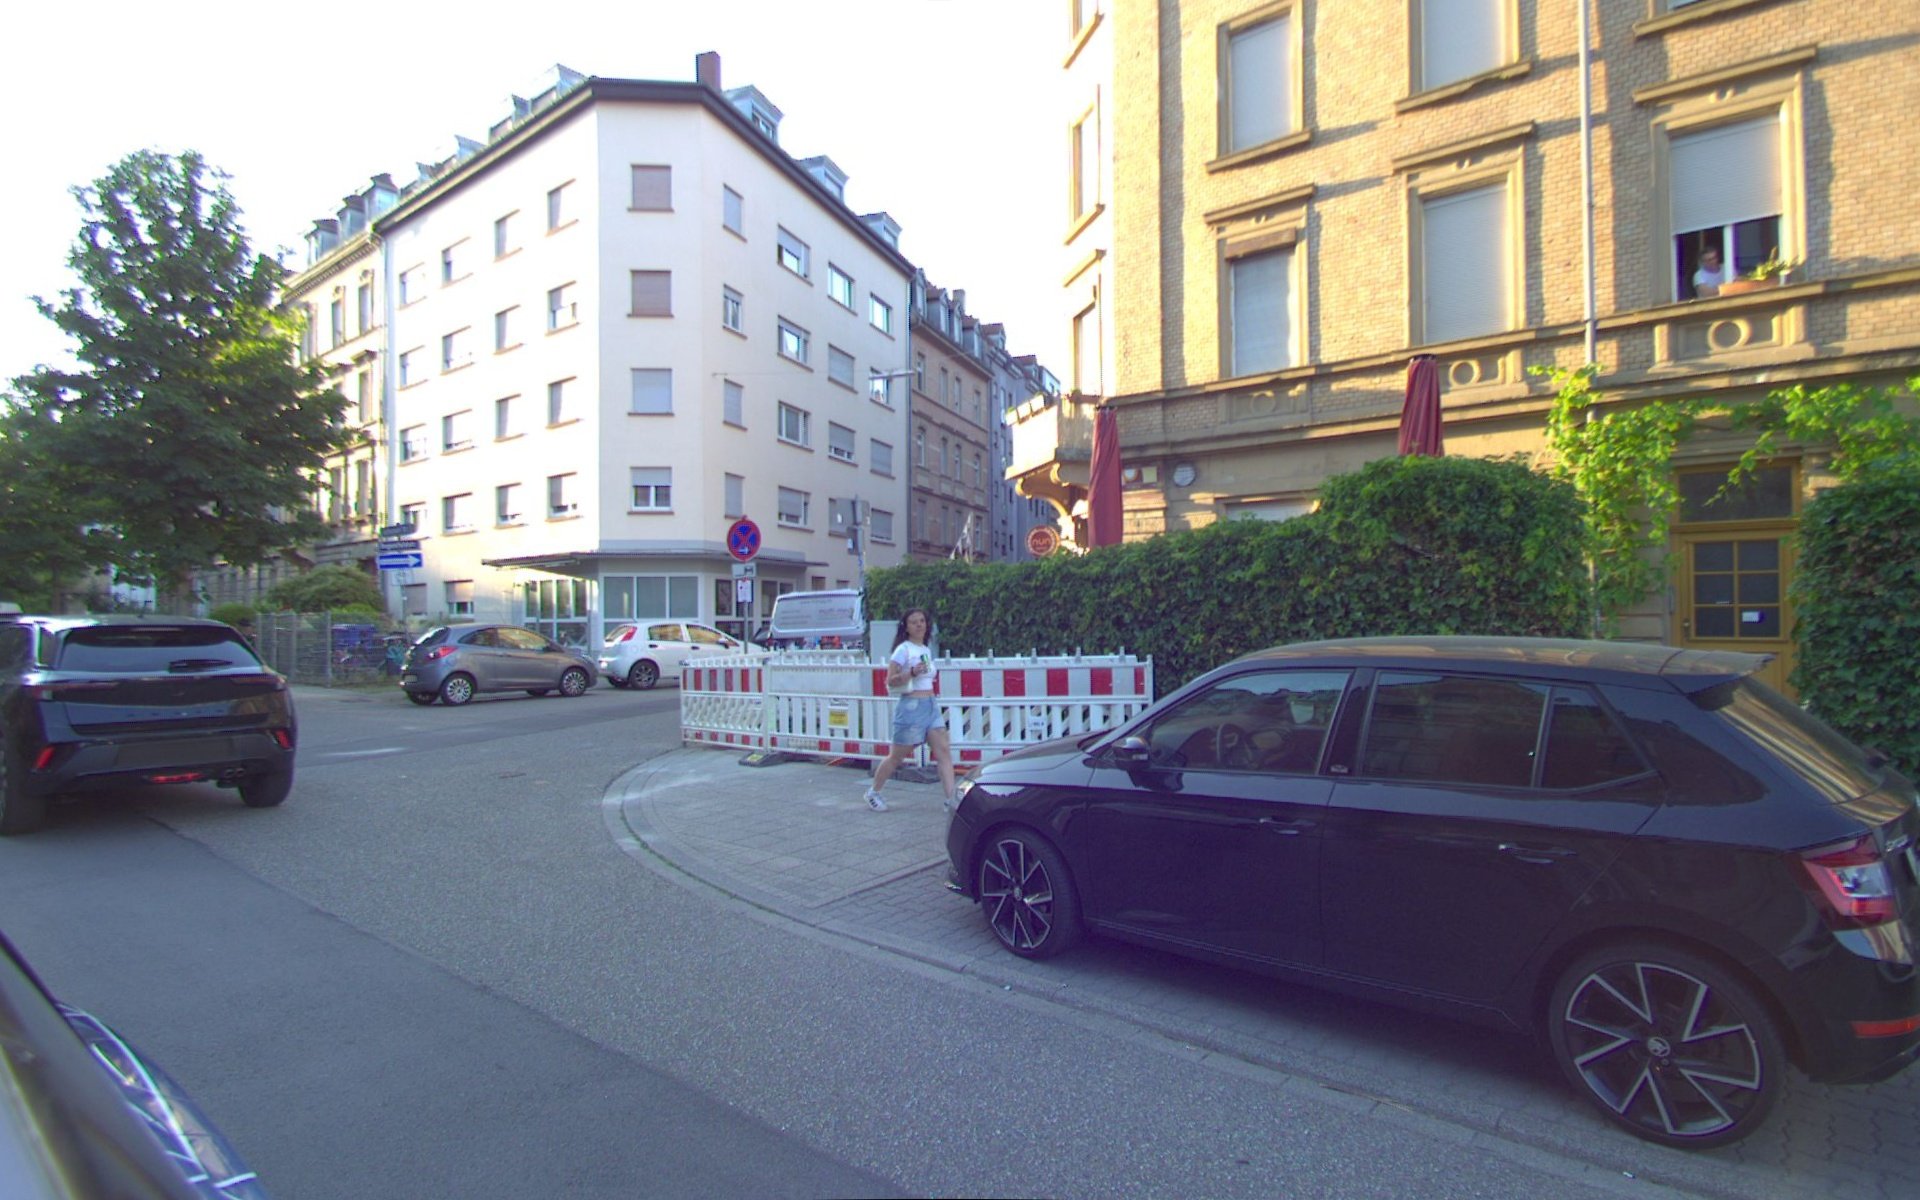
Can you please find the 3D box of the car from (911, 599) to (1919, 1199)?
[{"bbox_3d":[1.769,0.806,4.315,3.841,1.546,1.686,-2,-1,41],"label":"car"}]

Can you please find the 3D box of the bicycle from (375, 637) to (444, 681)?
[{"bbox_3d":[-14.358,1.532,26.416,1.528,1.100,0.500,-2,0,3],"label":"bicycle"}]

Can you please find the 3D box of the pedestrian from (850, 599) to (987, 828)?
[{"bbox_3d":[-0.303,0.820,7.723,0.782,1.630,0.706,-2,0,24],"label":"pedestrian"}]

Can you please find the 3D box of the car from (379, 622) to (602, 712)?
[{"bbox_3d":[-9.005,1.227,19.601,1.843,1.519,3.471,-3,-2,39],"label":"car"}]

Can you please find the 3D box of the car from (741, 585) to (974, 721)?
[{"bbox_3d":[-1.539,0.846,17.633,2.189,1.990,5.265,-2,-2,17],"label":"car"}]

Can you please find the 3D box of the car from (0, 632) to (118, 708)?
[{"bbox_3d":[-19.724,1.448,21.956,4.142,1.431,1.723,-2,-1,43],"label":"car"}]

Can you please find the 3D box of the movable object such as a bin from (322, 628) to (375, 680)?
[{"bbox_3d":[-16.842,1.457,27.870,1.398,1.362,0.857,-2,0,42],"label":"movable object such as a bin"}]

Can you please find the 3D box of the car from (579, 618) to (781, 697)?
[{"bbox_3d":[-6.380,1.240,23.232,4.007,1.520,1.978,-1,0,-38],"label":"car"}]

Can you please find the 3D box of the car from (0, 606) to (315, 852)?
[{"bbox_3d":[-7.040,0.863,8.221,3.994,1.529,1.763,-1,-3,37],"label":"car"}]

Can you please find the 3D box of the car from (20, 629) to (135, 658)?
[{"bbox_3d":[-45.874,2.215,52.683,1.625,1.351,4.356,-2,-1,41],"label":"car"}]

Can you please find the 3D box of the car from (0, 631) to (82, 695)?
[{"bbox_3d":[-23.648,1.519,25.294,4.586,1.423,1.843,-1,-1,39],"label":"car"}]

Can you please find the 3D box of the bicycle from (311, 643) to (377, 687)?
[{"bbox_3d":[-15.383,1.598,25.246,1.927,1.033,0.681,-2,0,35],"label":"bicycle"}]

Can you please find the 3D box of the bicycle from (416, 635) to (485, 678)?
[{"bbox_3d":[-13.765,1.535,27.351,1.689,1.100,0.385,-2,0,4],"label":"bicycle"}]

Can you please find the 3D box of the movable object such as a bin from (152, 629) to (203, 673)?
[{"bbox_3d":[-25.616,1.655,33.135,1.549,1.398,0.937,-2,0,37],"label":"movable object such as a bin"}]

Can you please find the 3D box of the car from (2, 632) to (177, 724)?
[{"bbox_3d":[-16.153,1.350,18.709,4.458,1.472,1.658,-1,-1,39],"label":"car"}]

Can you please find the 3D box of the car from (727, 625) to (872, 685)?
[{"bbox_3d":[-4.181,1.427,27.033,1.986,1.450,4.047,-2,-2,23],"label":"car"}]

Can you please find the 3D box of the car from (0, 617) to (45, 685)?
[{"bbox_3d":[-27.471,1.411,28.528,4.618,1.792,1.843,-1,-1,39],"label":"car"}]

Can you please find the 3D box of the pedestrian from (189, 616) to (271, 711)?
[{"bbox_3d":[-13.878,1.181,19.269,0.877,1.735,0.960,-1,0,-8],"label":"pedestrian"}]
